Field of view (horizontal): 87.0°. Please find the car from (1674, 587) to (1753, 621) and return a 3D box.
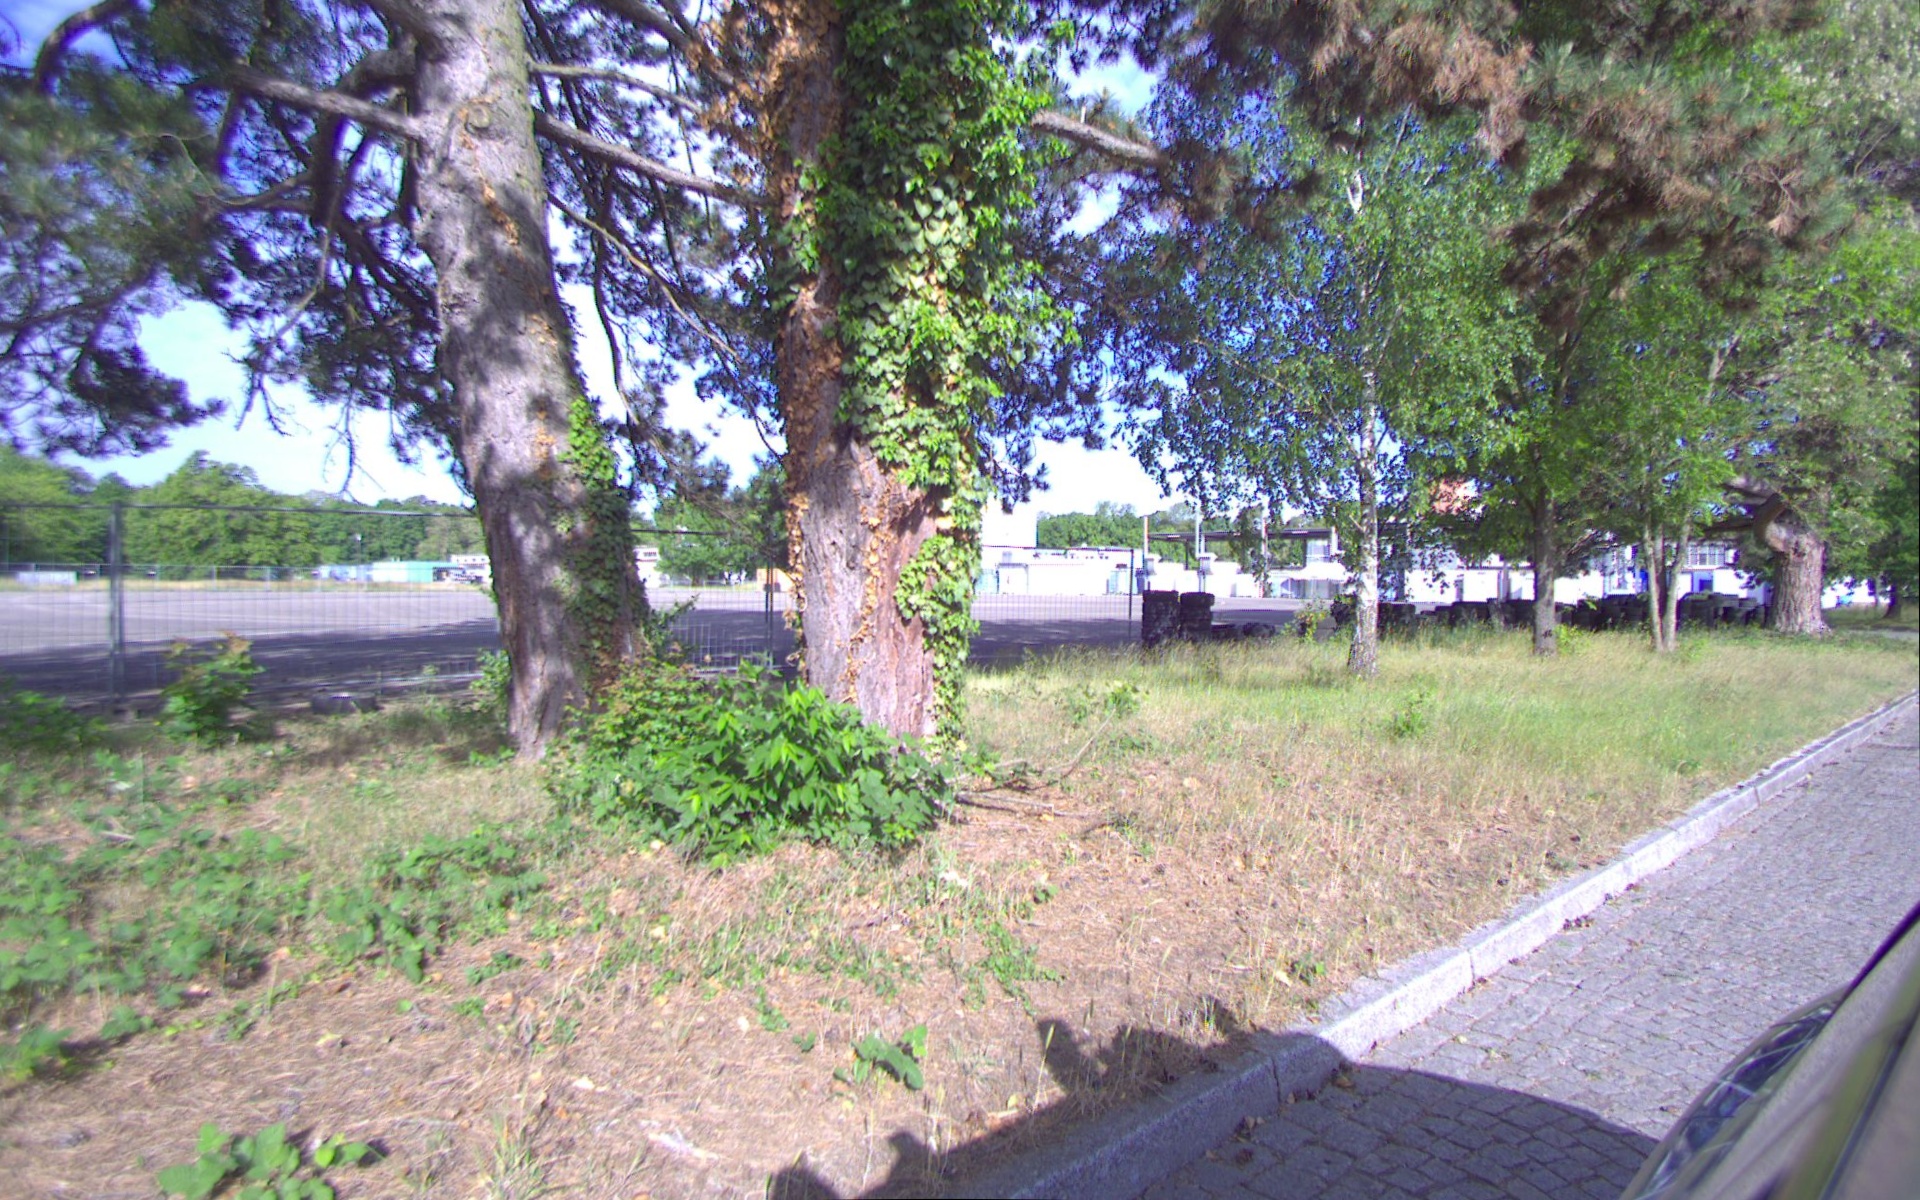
[{"bbox_3d":[35.021,0.153,47.019,3.924,1.467,1.848,0,1,-36],"label":"car"}]
